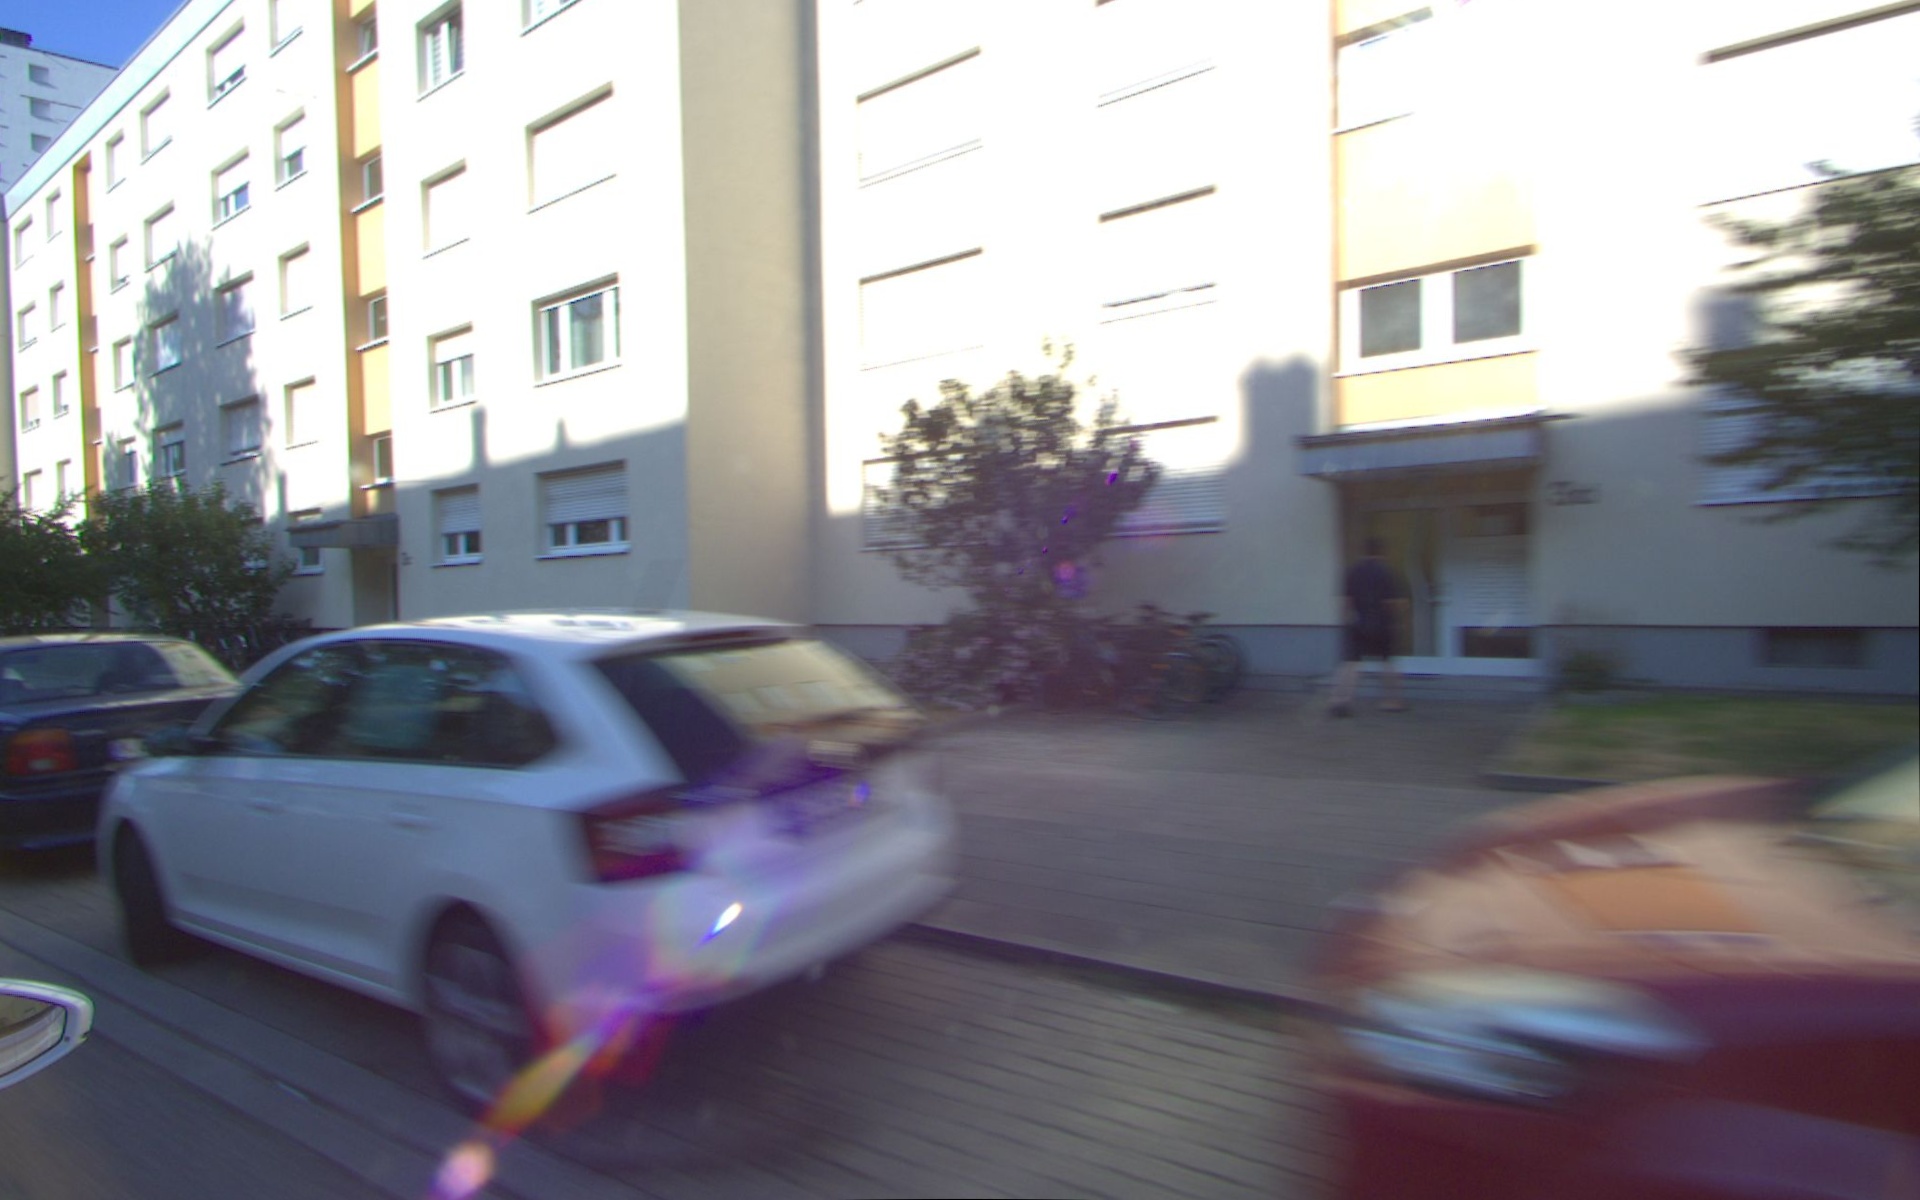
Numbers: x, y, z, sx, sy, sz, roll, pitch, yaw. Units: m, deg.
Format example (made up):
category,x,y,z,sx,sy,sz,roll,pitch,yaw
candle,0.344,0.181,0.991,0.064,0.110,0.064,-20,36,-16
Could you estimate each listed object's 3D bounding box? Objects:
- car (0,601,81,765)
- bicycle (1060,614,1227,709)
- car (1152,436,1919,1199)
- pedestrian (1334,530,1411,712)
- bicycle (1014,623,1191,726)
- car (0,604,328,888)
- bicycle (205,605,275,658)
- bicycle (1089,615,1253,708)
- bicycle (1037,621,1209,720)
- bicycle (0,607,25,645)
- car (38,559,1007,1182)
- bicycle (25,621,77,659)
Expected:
category,x,y,z,sx,sy,sz,roll,pitch,yaw
car,-10.407,0.790,9.590,3.941,1.461,1.870,-2,-1,31
bicycle,1.938,0.651,10.761,1.769,0.953,0.436,-2,-3,38
car,2.480,0.574,1.417,3.944,1.638,1.767,-2,1,32
pedestrian,3.993,0.192,9.680,0.529,1.680,0.764,-1,2,32
bicycle,1.389,0.727,10.004,1.769,0.953,0.436,-2,-3,38
car,-6.322,0.839,6.910,4.252,1.456,1.658,-2,-3,32
bicycle,-16.267,0.714,22.592,2.363,1.129,0.491,-2,3,36
bicycle,2.303,0.674,11.101,1.769,0.953,0.436,-2,-3,38
bicycle,1.661,0.717,10.401,1.769,0.953,0.436,-2,-3,38
bicycle,-29.067,0.770,30.260,2.358,1.096,0.599,1,1,33
car,-1.975,0.687,4.217,3.944,1.474,1.766,-2,3,32
bicycle,-28.496,1.232,31.377,2.358,1.096,0.599,1,1,33
